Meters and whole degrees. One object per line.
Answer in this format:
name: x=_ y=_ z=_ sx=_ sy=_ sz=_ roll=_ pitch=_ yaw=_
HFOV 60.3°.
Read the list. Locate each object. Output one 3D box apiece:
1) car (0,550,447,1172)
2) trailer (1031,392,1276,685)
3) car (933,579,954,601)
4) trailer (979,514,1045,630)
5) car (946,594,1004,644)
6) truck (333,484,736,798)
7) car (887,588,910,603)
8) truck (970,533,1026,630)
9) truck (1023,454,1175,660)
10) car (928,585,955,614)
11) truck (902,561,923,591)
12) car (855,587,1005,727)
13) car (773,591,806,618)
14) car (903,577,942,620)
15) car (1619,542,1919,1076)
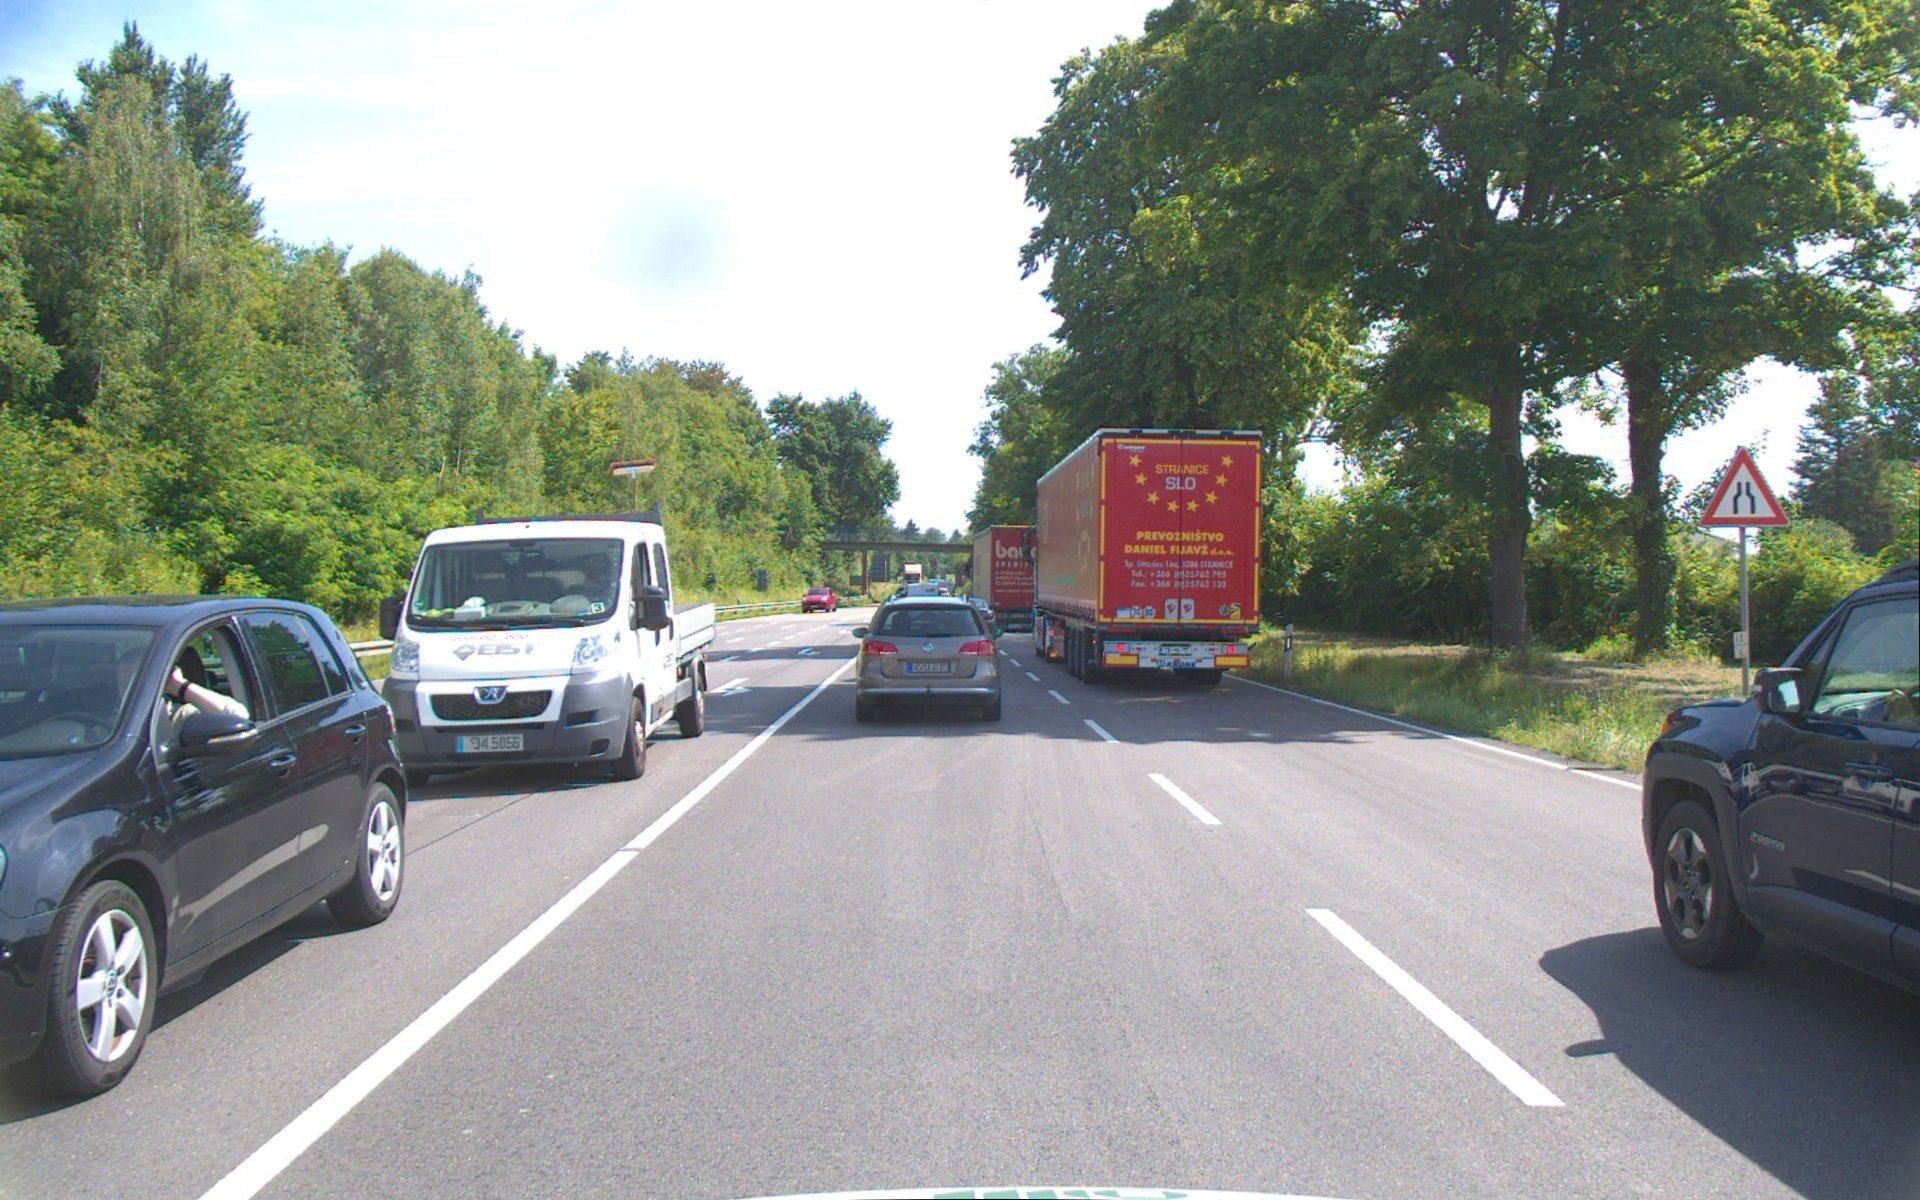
car: x=-3.328 y=0.689 z=6.024 sx=1.676 sy=1.578 sz=4.108 roll=-2 pitch=0 yaw=-1
trailer: x=3.240 y=-0.919 z=31.778 sx=2.782 sy=4.442 sz=13.162 roll=0 pitch=0 yaw=-2
car: x=-1.627 y=-1.003 z=164.856 sx=1.953 sy=2.049 sz=3.999 roll=-2 pitch=0 yaw=-2
trailer: x=2.048 y=-1.040 z=68.929 sx=2.346 sy=4.317 sz=13.078 roll=-2 pitch=0 yaw=1
car: x=0.465 y=0.619 z=54.877 sx=1.734 sy=1.539 sz=3.999 roll=-2 pitch=0 yaw=-2
truck: x=-3.663 y=0.315 z=15.769 sx=2.182 sy=2.307 sz=6.498 roll=-2 pitch=0 yaw=-1
car: x=-6.281 y=-0.437 z=169.225 sx=1.922 sy=1.439 sz=4.002 roll=-1 pitch=0 yaw=3
truck: x=1.707 y=-0.808 z=76.011 sx=2.357 sy=4.200 sz=5.521 roll=-2 pitch=0 yaw=1
truck: x=3.065 y=-0.904 z=37.987 sx=2.812 sy=4.356 sz=5.837 roll=0 pitch=0 yaw=-2
car: x=-1.414 y=-0.031 z=126.051 sx=1.953 sy=2.049 sz=3.999 roll=-2 pitch=0 yaw=-2
truck: x=-6.747 y=-3.346 z=233.710 sx=2.718 sy=3.999 sz=9.462 roll=-1 pitch=0 yaw=-2
car: x=-0.395 y=0.648 z=20.667 sx=1.657 sy=1.539 sz=3.999 roll=-2 pitch=0 yaw=-2
car: x=-12.181 y=0.304 z=118.368 sx=1.933 sy=1.828 sz=4.807 roll=-2 pitch=0 yaw=-1
car: x=-1.786 y=-0.055 z=78.592 sx=1.734 sy=1.970 sz=3.976 roll=-2 pitch=0 yaw=-2
car: x=3.872 y=0.636 z=5.447 sx=1.734 sy=1.683 sz=3.999 roll=-2 pitch=0 yaw=-1
